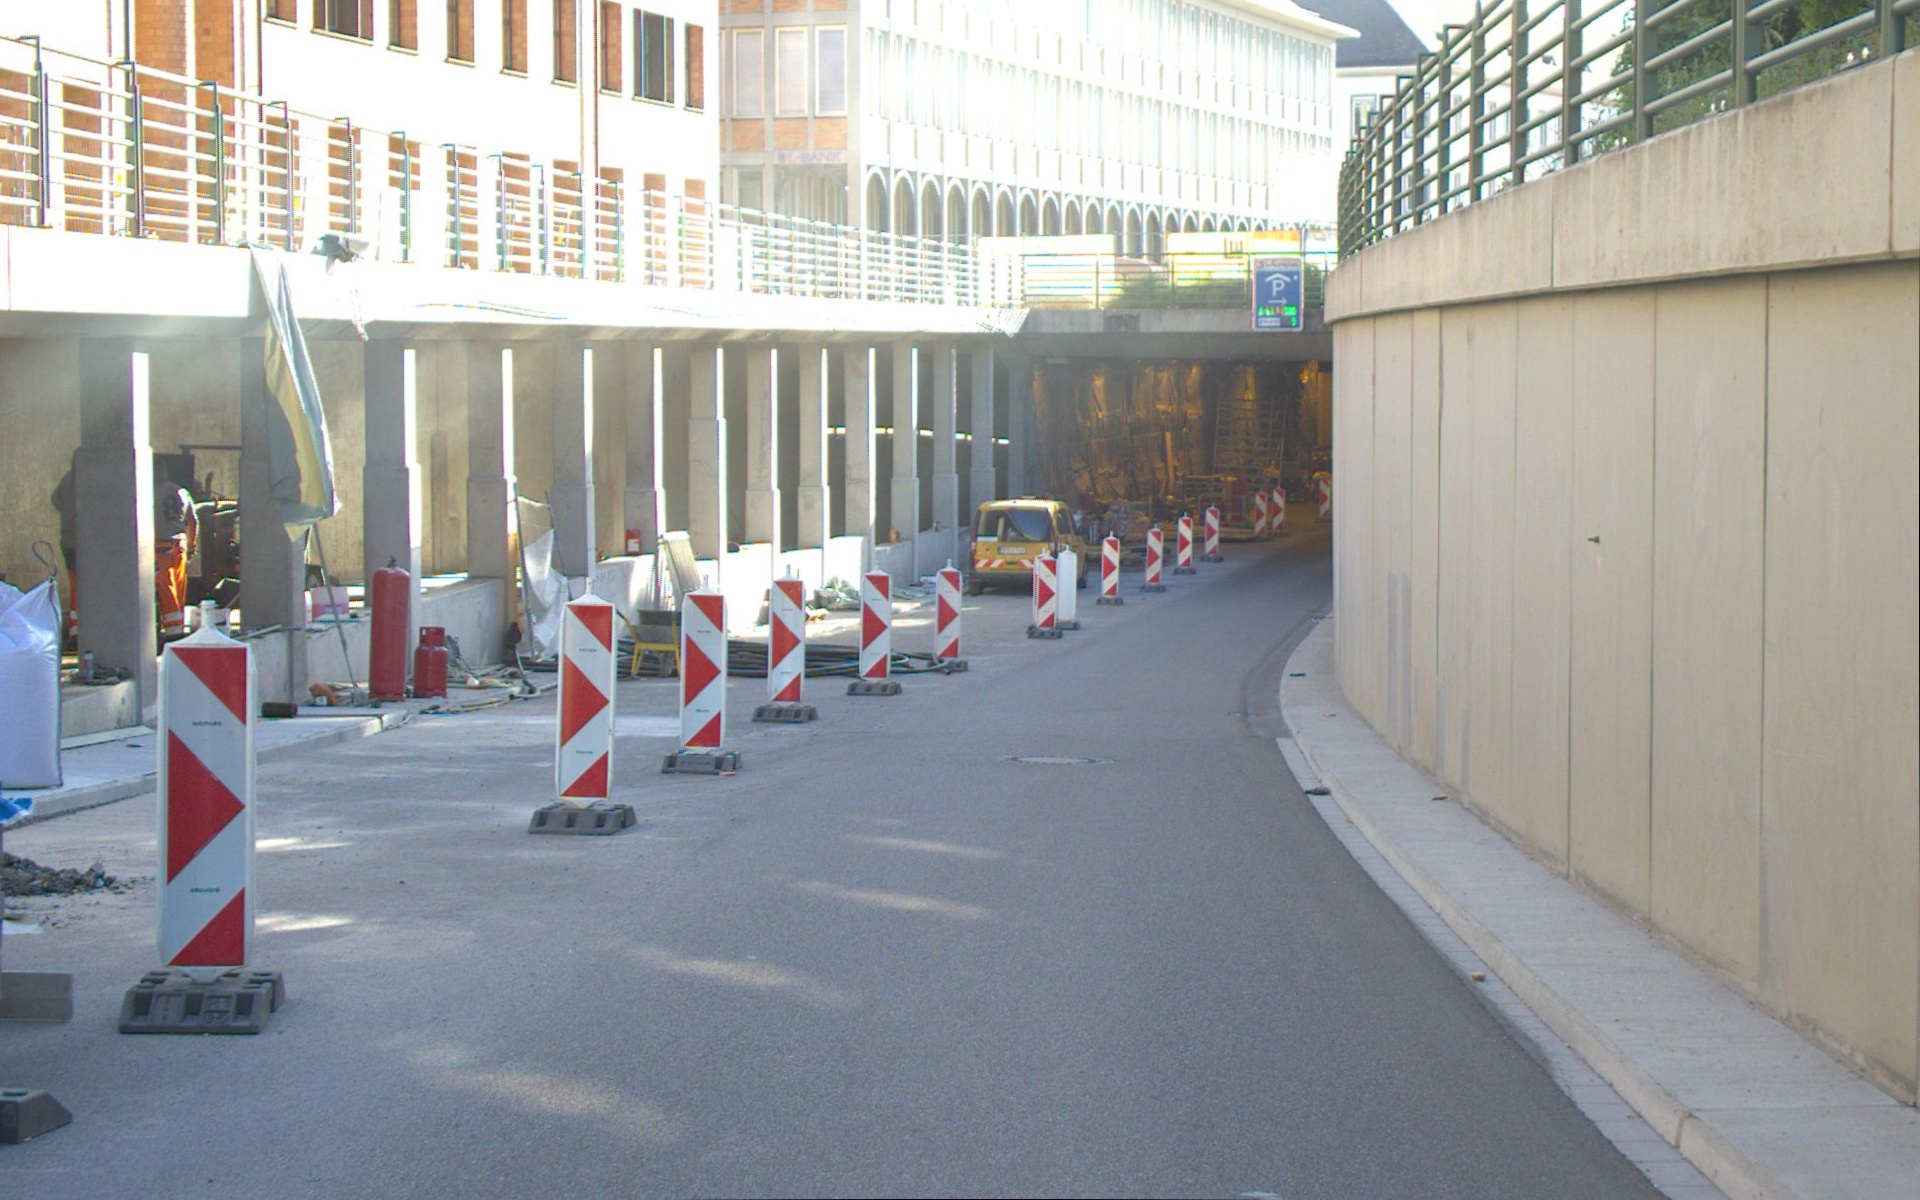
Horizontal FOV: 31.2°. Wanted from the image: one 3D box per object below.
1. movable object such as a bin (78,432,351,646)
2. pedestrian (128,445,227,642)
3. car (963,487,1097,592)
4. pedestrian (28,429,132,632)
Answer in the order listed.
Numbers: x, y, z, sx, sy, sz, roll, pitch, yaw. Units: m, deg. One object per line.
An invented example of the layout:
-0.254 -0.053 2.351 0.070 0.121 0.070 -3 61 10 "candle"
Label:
-7.337 -0.627 34.102 1.885 1.980 3.159 1 2 2 "movable object such as a bin"
-7.290 -0.531 32.026 0.657 1.798 0.624 2 1 12 "pedestrian"
1.373 -1.190 65.602 1.849 1.769 4.433 2 4 10 "car"
-8.034 -0.639 31.410 0.704 1.808 0.710 2 1 2 "pedestrian"
